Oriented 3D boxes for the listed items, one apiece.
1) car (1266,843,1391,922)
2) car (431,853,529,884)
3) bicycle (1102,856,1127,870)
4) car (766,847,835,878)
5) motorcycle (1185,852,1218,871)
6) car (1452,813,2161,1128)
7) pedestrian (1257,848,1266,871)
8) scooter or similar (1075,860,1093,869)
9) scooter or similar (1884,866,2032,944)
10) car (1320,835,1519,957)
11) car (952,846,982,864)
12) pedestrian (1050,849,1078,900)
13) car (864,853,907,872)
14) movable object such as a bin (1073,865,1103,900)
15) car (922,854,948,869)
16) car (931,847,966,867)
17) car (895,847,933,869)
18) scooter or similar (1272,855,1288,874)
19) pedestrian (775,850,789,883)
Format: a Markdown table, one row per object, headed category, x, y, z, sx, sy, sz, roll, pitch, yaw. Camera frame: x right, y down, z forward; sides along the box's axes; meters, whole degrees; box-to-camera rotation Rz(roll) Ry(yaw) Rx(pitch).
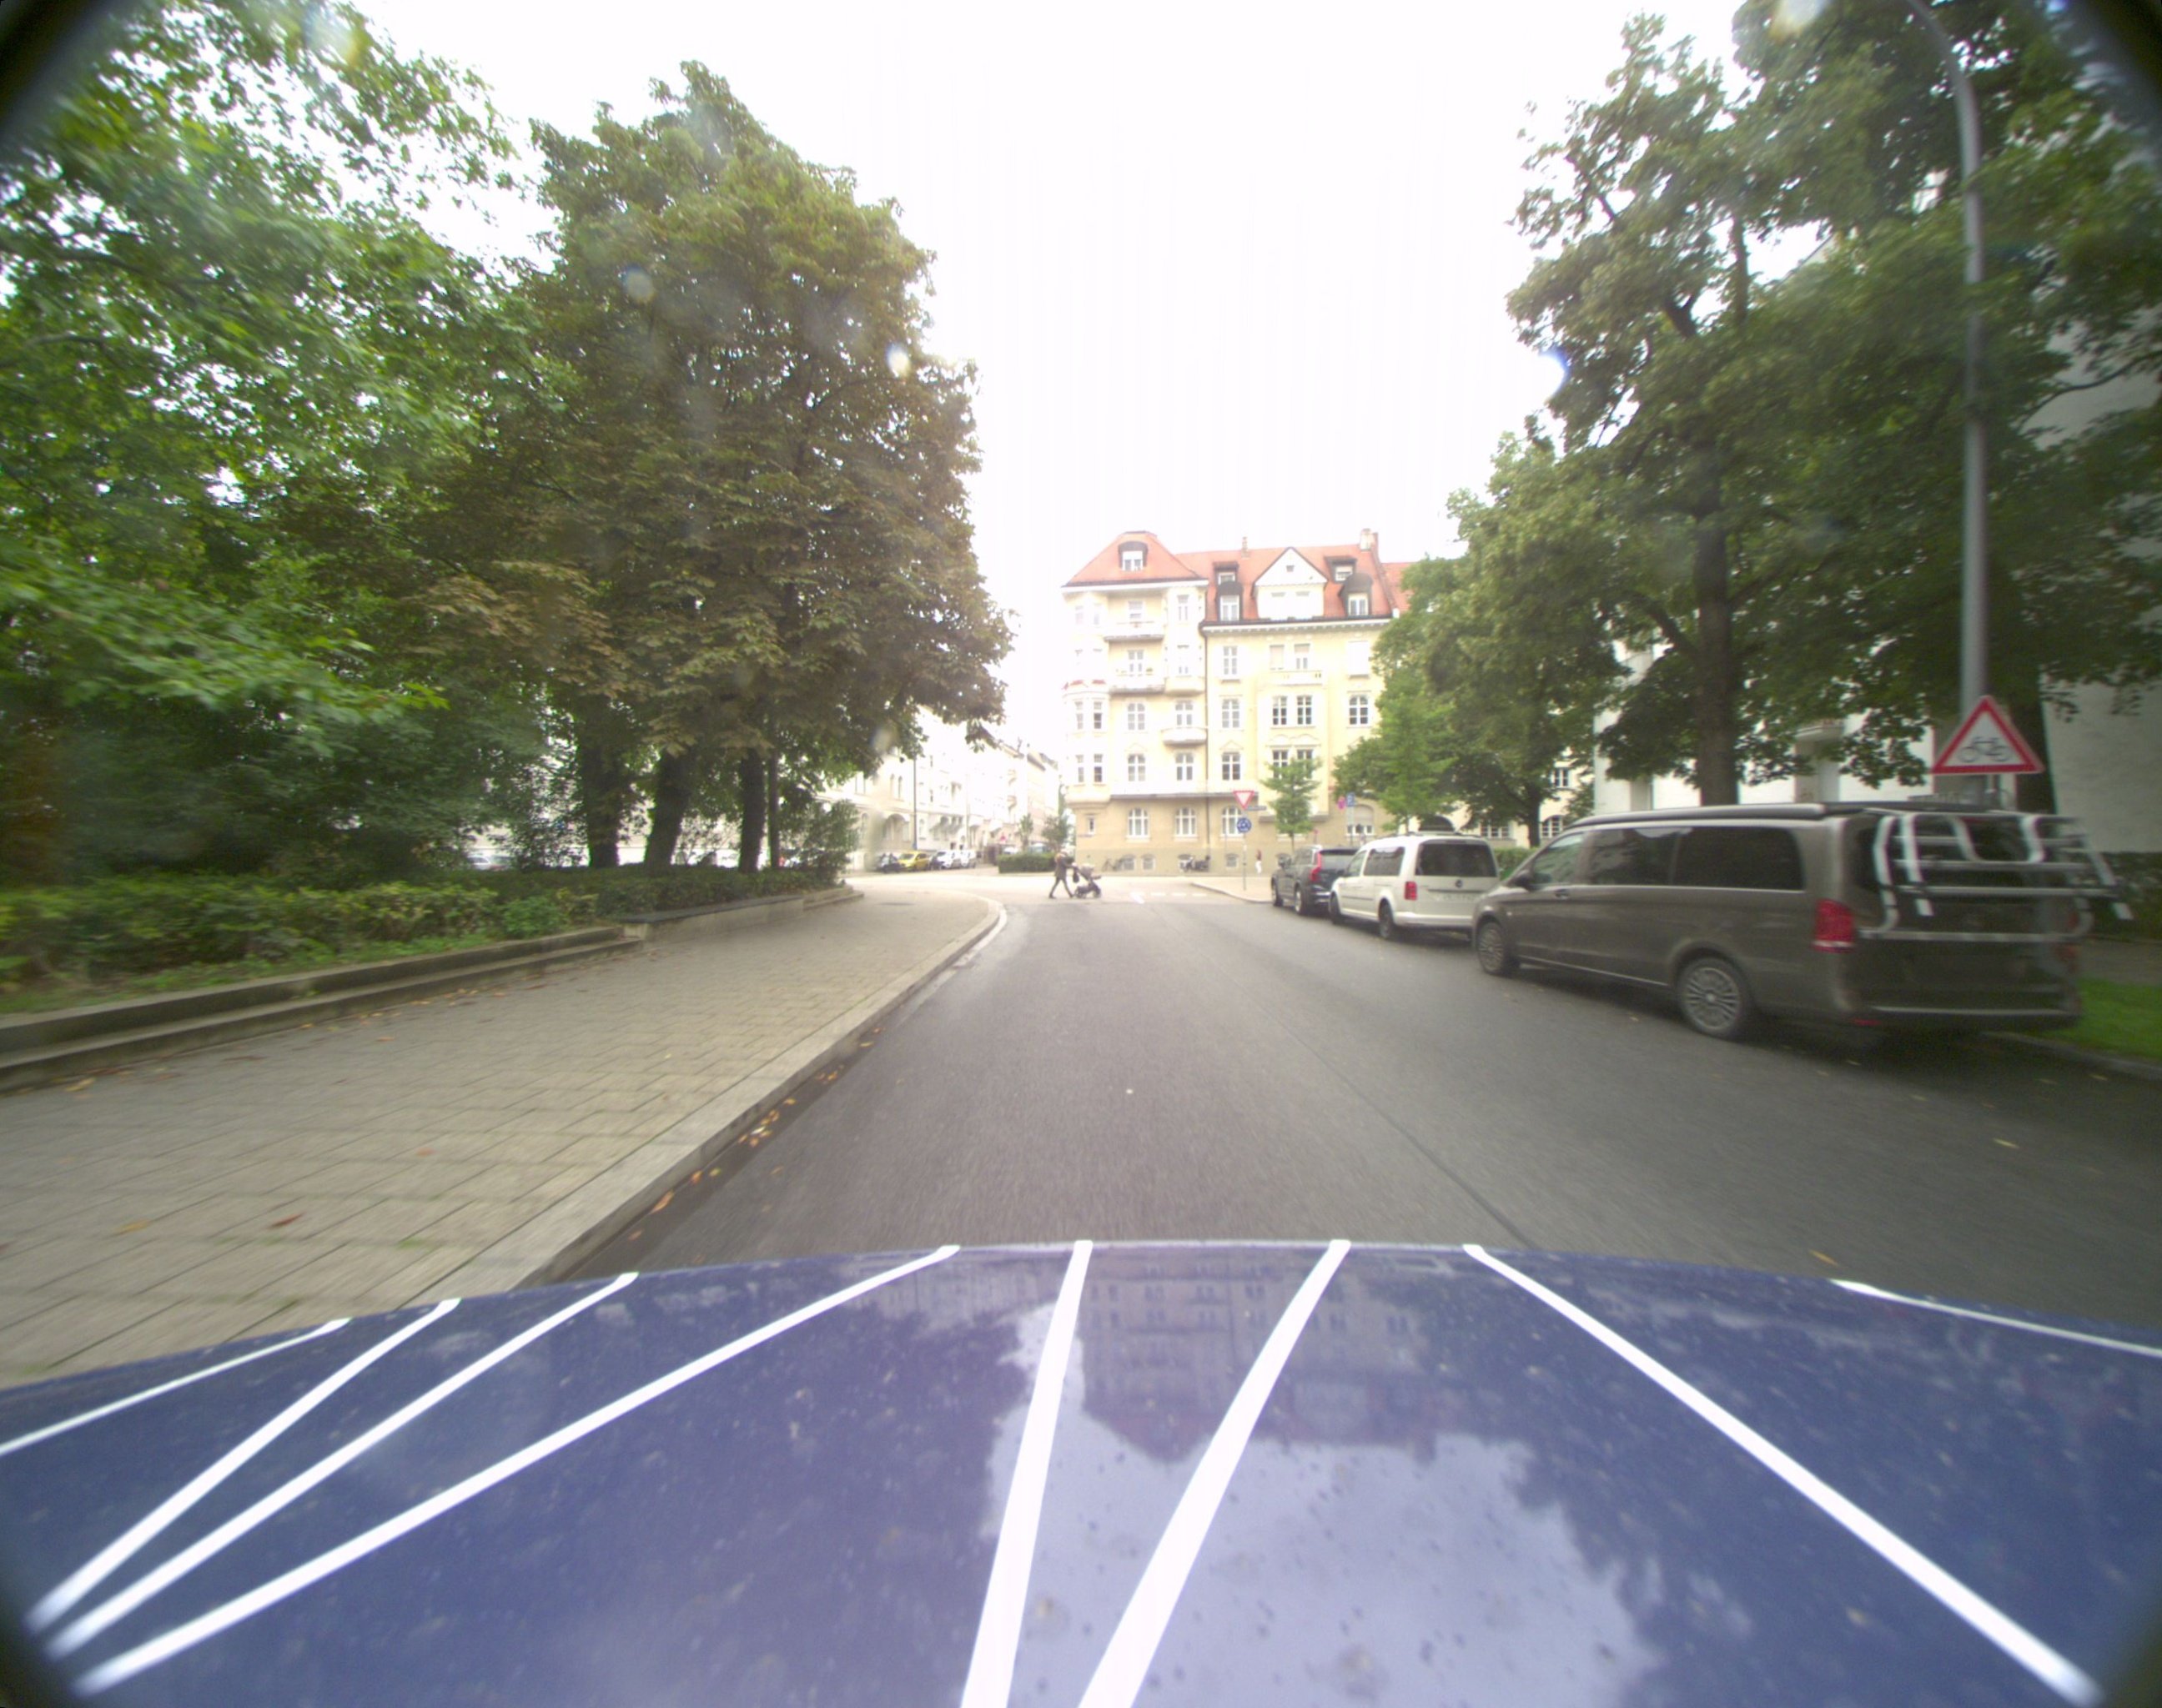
| category | x | y | z | sx | sy | sz | roll | pitch | yaw |
| --- | --- | --- | --- | --- | --- | --- | --- | --- | --- |
| car | 6.269 | 0.612 | 19.896 | 1.884 | 1.758 | 5.059 | 0 | 2 | 4 |
| car | -31.365 | 0.734 | 39.673 | 3.994 | 1.574 | 1.739 | 0 | 2 | 10 |
| bicycle | 2.427 | 0.650 | 55.430 | 1.783 | 0.986 | 0.543 | 0 | 2 | 4 |
| car | -18.225 | 0.490 | 49.605 | 1.948 | 1.923 | 4.977 | 1 | 1 | 10 |
| motorcycle | 8.606 | 0.518 | 54.324 | 2.243 | 1.319 | 0.824 | 0 | 2 | 5 |
| car | 6.005 | 0.720 | 7.466 | 1.950 | 1.952 | 5.458 | 1 | 0 | -1 |
| pedestrian | 12.724 | 0.377 | 53.519 | 0.606 | 1.655 | 0.463 | 0 | 2 | 13 |
| scooter or similar | 0.226 | 0.758 | 55.380 | 1.235 | 0.683 | 0.316 | -1 | 2 | -21 |
| scooter or similar | 14.003 | 0.785 | 12.195 | 0.543 | 1.111 | 1.563 | 0 | 2 | 0 |
| car | 6.154 | 0.662 | 14.552 | 1.884 | 1.926 | 4.834 | 1 | 0 | 4 |
| car | -12.664 | 0.078 | 84.506 | 2.052 | 1.928 | 4.578 | 0 | 2 | 8 |
| pedestrian | -0.553 | 0.656 | 24.760 | 0.863 | 1.610 | 0.593 | -1 | 2 | -7 |
| car | -15.938 | 0.650 | 62.112 | 1.948 | 1.412 | 3.821 | 0 | 2 | 10 |
| movable object such as a bin | 0.220 | 0.931 | 24.937 | 0.900 | 1.078 | 0.777 | -1 | 2 | -7 |
| car | -14.031 | 0.702 | 73.167 | 1.440 | 1.351 | 3.360 | 1 | 2 | 10 |
| car | -13.540 | 0.294 | 78.190 | 2.156 | 1.902 | 4.774 | 0 | 2 | 8 |
| car | -14.742 | 0.326 | 67.426 | 1.793 | 1.809 | 4.306 | 1 | 2 | 10 |
| scooter or similar | 13.190 | 0.663 | 50.358 | 1.281 | 1.223 | 0.408 | -2 | 3 | -43 |
| pedestrian | -16.122 | 0.672 | 40.987 | 0.404 | 1.758 | 0.571 | 0 | 2 | 18 |
